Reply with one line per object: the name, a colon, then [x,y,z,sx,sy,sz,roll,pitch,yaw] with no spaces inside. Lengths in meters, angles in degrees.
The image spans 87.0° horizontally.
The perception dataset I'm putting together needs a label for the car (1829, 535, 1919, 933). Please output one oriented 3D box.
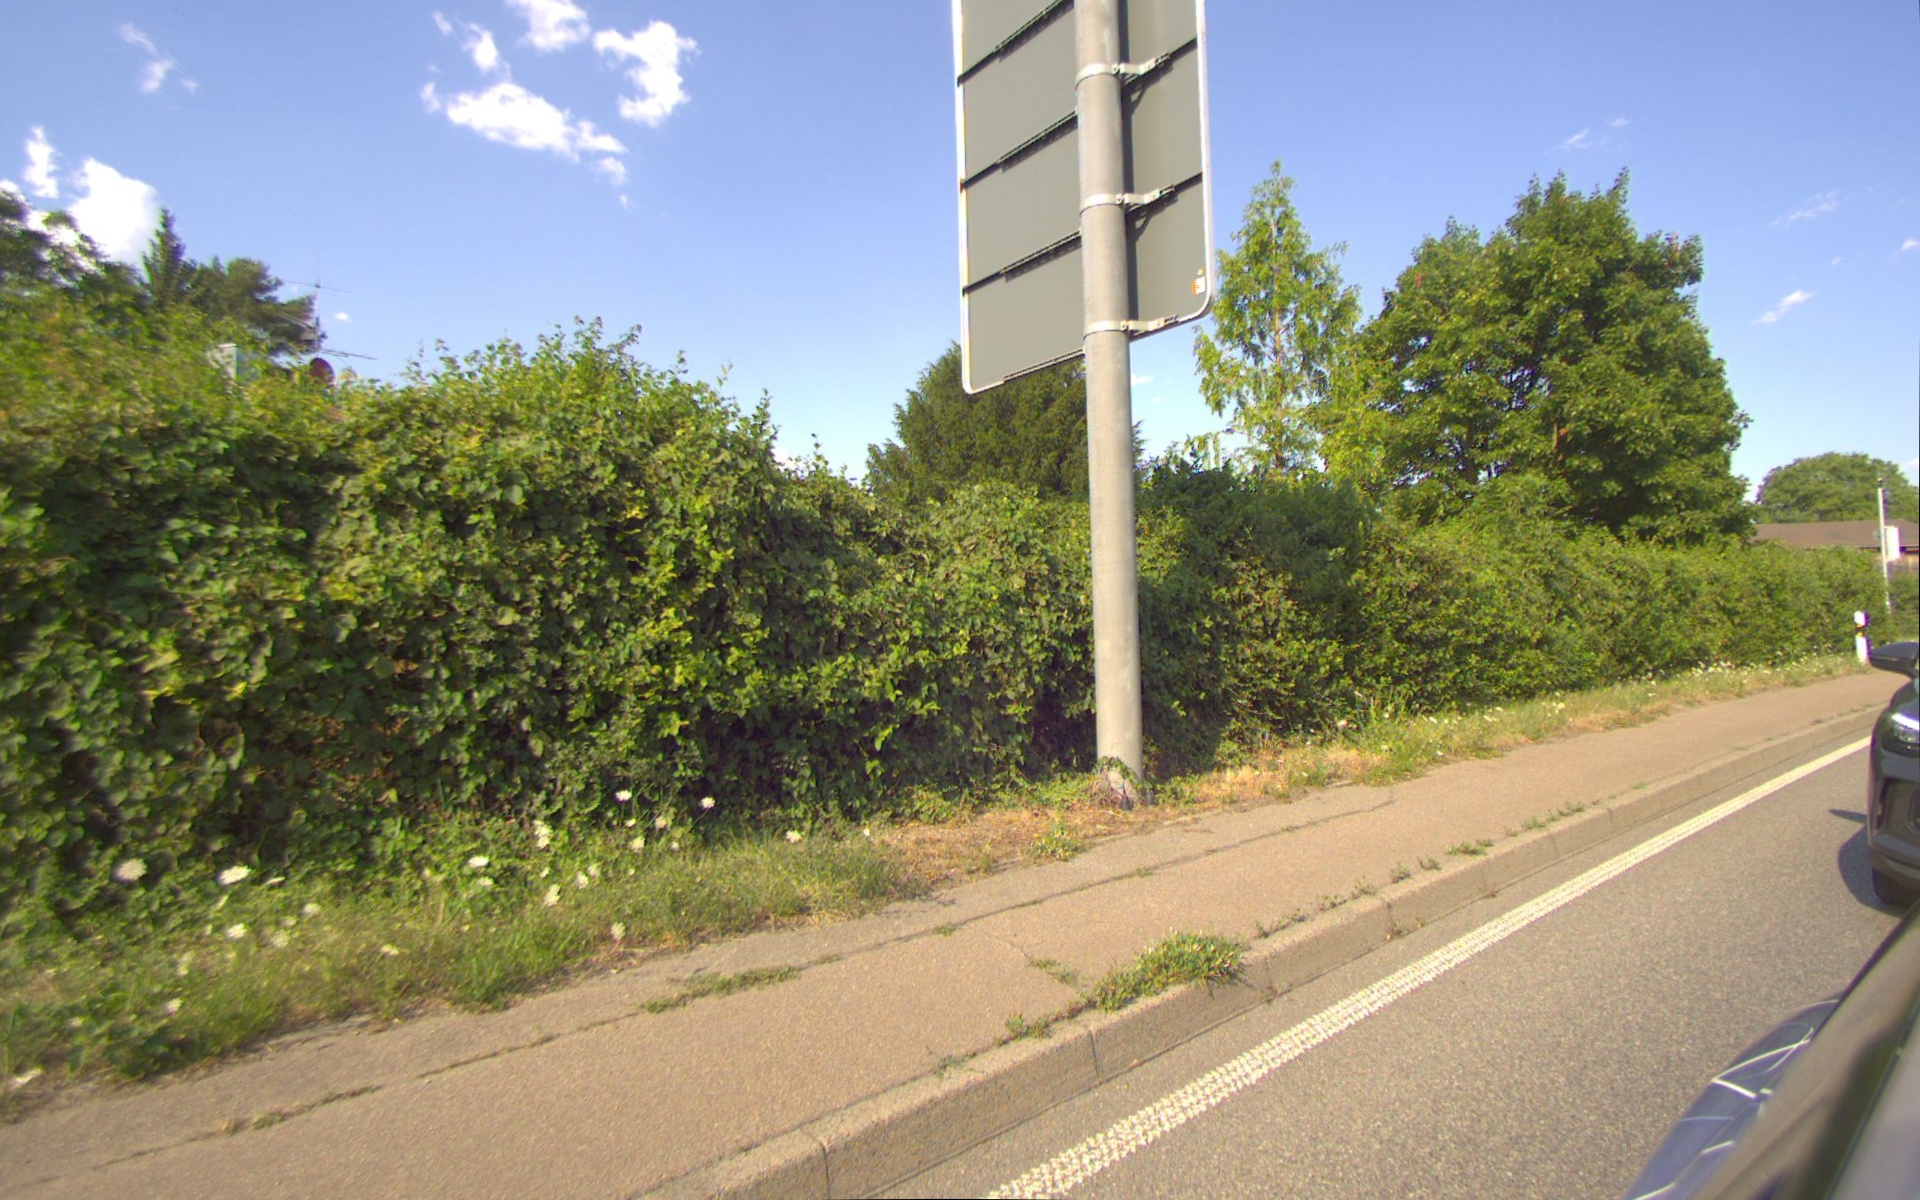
car: [5.927,0.529,4.972,3.929,1.662,1.865,-2,2,-39]
